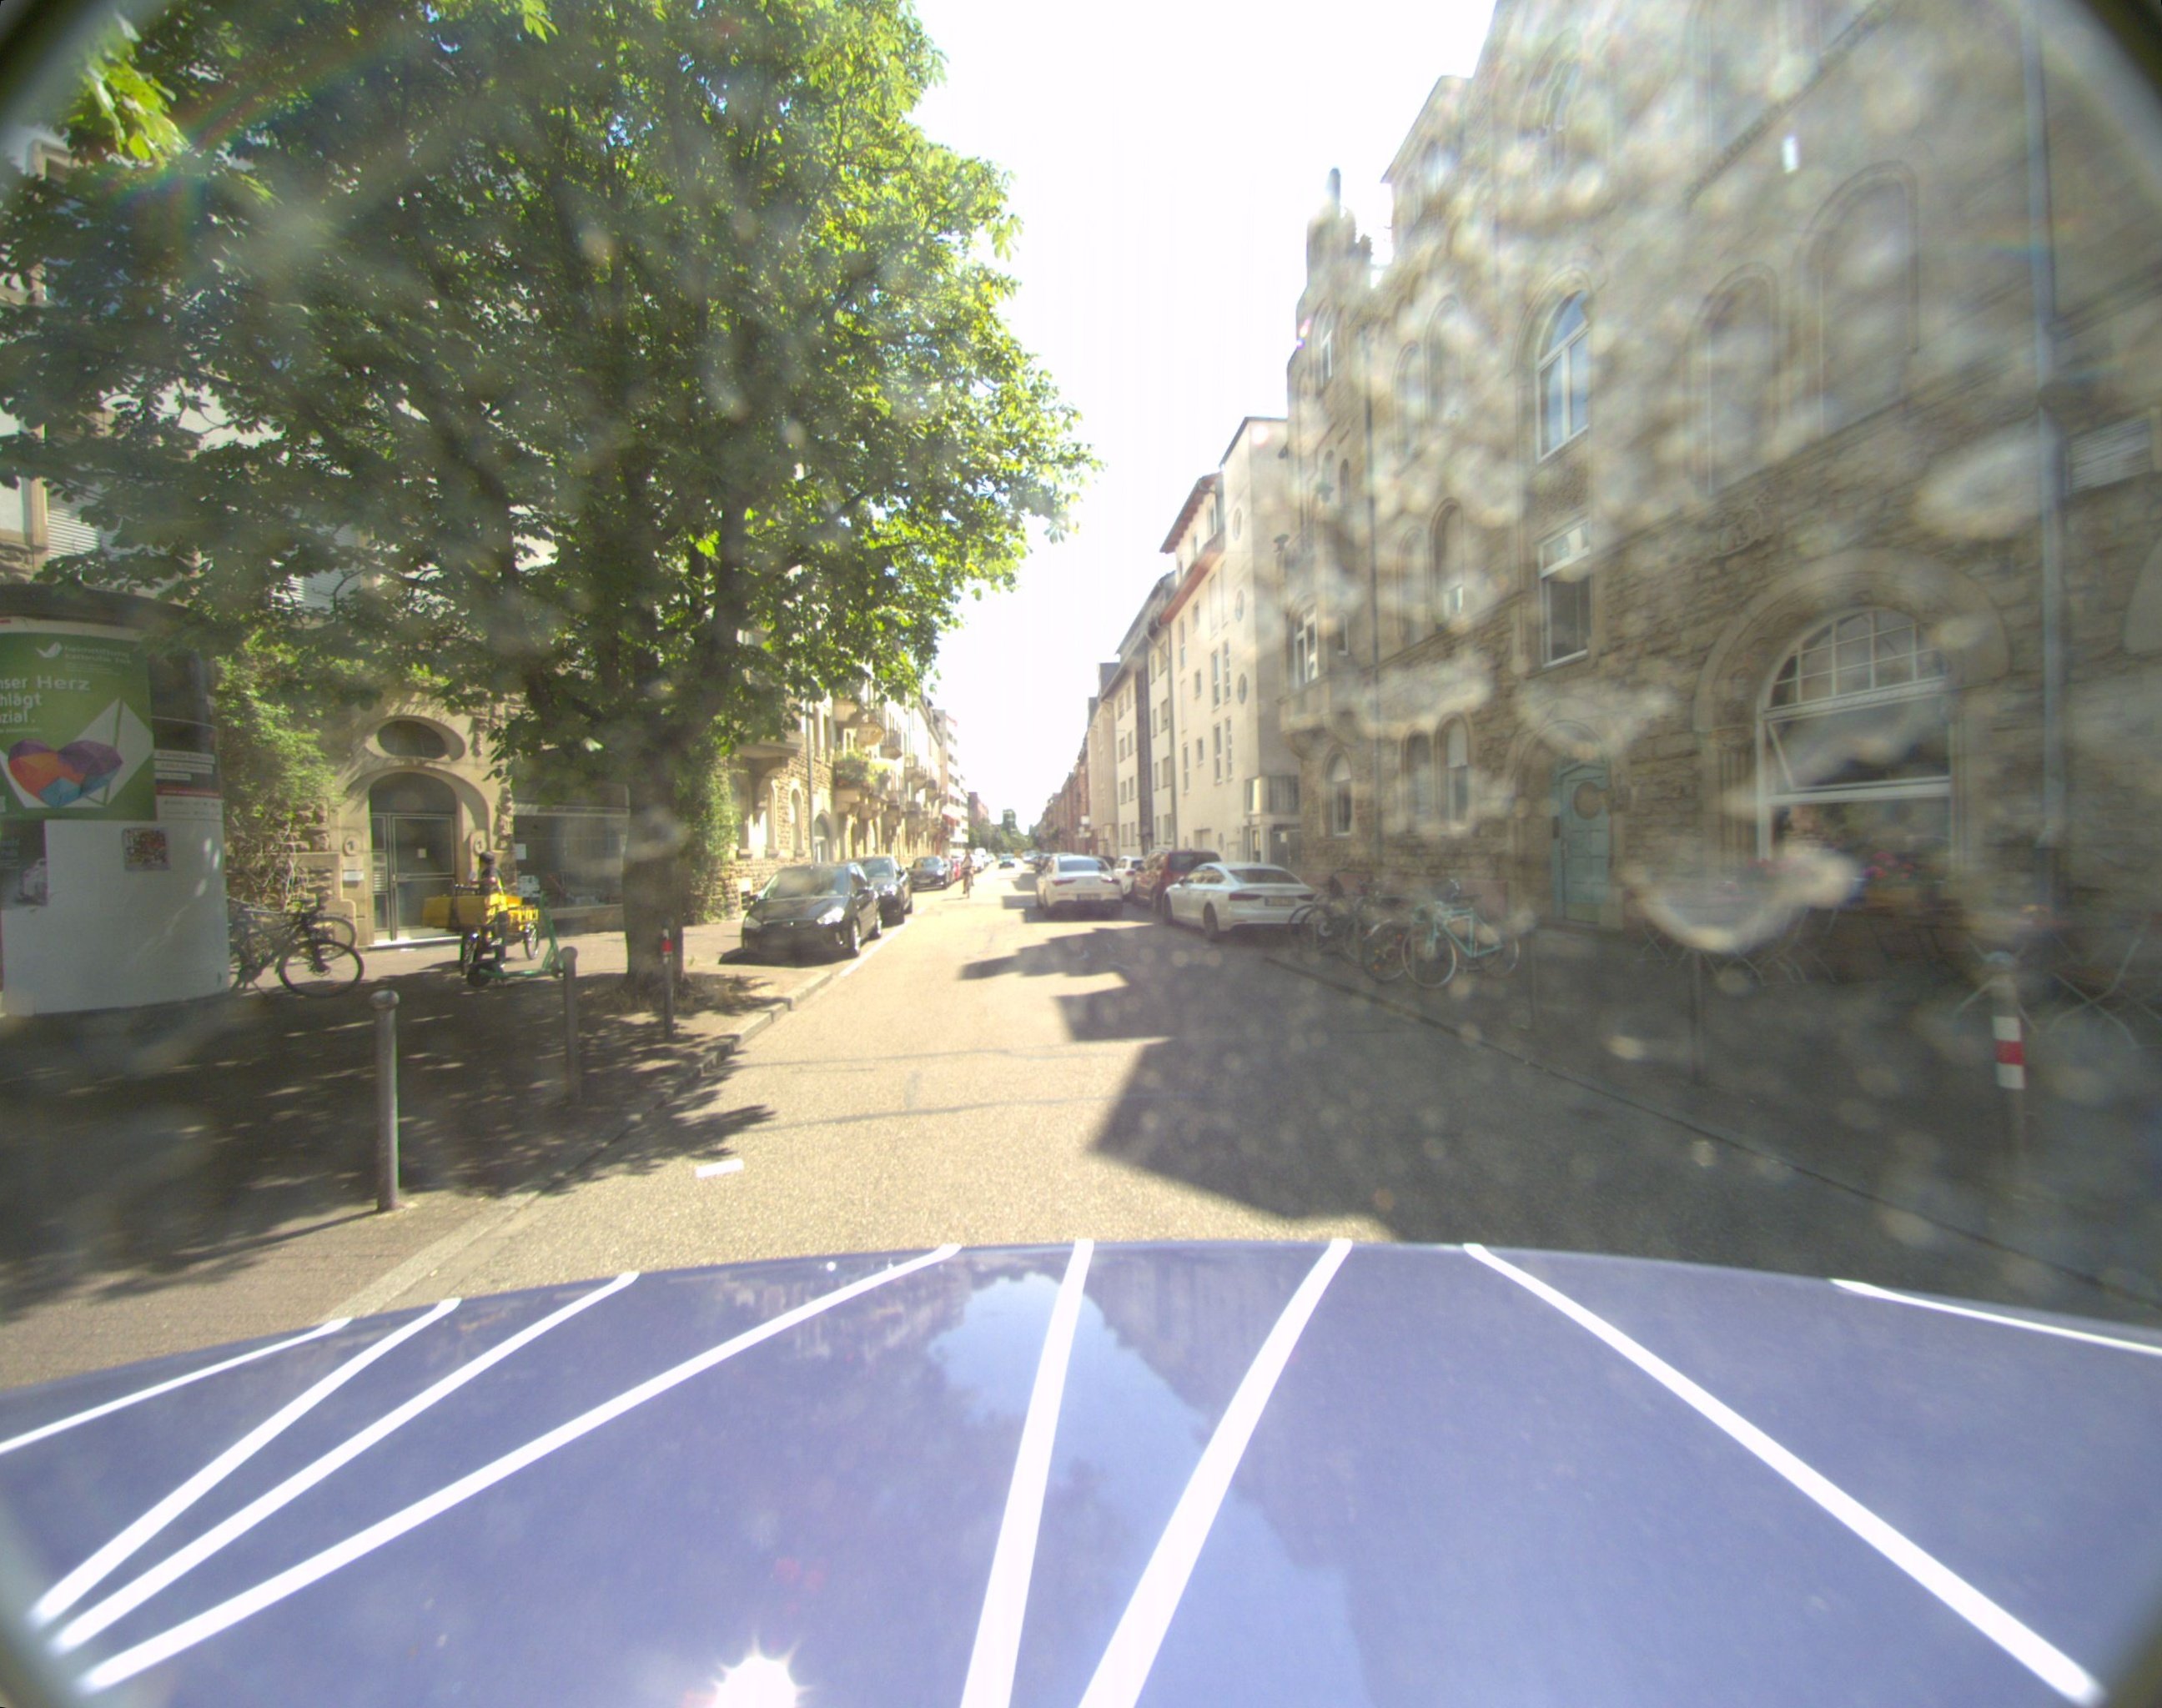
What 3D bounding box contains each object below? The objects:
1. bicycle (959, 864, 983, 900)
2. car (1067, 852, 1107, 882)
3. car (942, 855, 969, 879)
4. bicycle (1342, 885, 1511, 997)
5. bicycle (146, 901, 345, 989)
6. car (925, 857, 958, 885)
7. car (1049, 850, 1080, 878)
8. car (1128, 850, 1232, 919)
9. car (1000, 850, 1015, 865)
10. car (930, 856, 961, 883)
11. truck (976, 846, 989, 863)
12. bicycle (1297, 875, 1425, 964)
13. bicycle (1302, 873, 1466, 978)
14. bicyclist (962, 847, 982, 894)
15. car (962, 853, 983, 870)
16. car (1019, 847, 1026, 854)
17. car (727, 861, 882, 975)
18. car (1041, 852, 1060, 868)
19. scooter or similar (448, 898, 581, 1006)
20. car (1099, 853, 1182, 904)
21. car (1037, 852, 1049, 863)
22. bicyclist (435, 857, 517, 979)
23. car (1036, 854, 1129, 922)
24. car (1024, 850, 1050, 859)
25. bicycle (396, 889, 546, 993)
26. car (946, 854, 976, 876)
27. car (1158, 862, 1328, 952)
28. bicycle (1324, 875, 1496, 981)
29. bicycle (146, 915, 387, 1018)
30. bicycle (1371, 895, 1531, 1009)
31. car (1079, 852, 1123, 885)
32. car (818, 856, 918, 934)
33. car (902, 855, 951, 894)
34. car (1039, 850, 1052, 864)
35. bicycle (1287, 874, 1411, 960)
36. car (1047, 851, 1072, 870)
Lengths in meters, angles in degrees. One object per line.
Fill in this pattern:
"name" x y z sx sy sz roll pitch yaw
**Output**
"bicycle" -3.893 0.959 27.010 0.671 1.169 2.093 -1 1 -4
"car" 0.263 0.683 42.012 1.661 1.510 4.668 1 1 -6
"car" -8.643 0.884 52.674 1.594 1.444 3.853 -4 1 -7
"bicycle" 3.783 0.927 8.324 1.710 1.039 0.413 -4 2 -10
"bicycle" -12.031 1.267 11.027 0.548 1.033 1.840 0 1 27
"car" -7.720 0.916 42.381 1.517 1.391 3.969 -4 1 -8
"car" -1.065 0.617 47.469 1.608 1.634 3.974 1 1 -6
"car" 2.454 0.707 19.836 1.678 1.574 4.049 1 1 -8
"car" -8.221 0.378 85.544 1.625 1.601 3.595 -1 1 -6
"car" -8.452 0.947 47.654 1.575 1.444 3.840 -4 1 -6
"truck" -16.428 0.052 126.768 1.870 2.715 4.505 -1 1 -5
"bicycle" 3.891 0.893 10.545 1.708 1.094 0.292 -3 2 -10
"bicycle" 3.890 0.897 9.751 1.978 1.123 0.394 -5 2 -10
"bicyclist" -3.885 0.575 27.036 0.645 1.640 0.622 -1 1 -5
"car" -9.930 0.672 69.809 1.829 1.423 4.486 -2 0 -7
"car" -16.621 -1.097 216.319 1.785 2.002 3.998 -2 1 -2
"car" -4.673 0.966 13.460 1.668 1.532 4.174 -4 1 -8
"car" -3.115 0.587 76.921 1.782 1.421 3.835 3 0 -4
"scooter or similar" -6.866 1.151 9.257 0.442 1.130 1.187 0 1 31
"car" 1.835 0.730 24.714 1.782 1.451 4.275 1 1 -8
"car" -5.137 0.420 102.515 1.450 1.391 3.524 3 0 -5
"bicyclist" -8.499 0.865 10.701 0.680 1.638 0.660 -1 1 -20
"car" -0.083 0.774 19.083 1.847 1.452 4.359 1 1 -6
"car" -6.860 0.084 119.203 3.998 1.422 1.677 -1 1 -4
"bicycle" -8.642 1.160 10.929 0.797 1.162 2.574 -1 1 -18
"car" -9.148 0.797 58.338 1.721 1.444 4.595 -3 1 -3
"car" 2.863 0.886 14.559 1.707 1.345 4.511 1 1 -8
"bicycle" 4.035 0.881 9.334 2.002 1.123 0.435 -3 2 -10
"bicycle" -9.194 1.253 8.637 1.906 1.033 0.633 -1 1 -5
"bicycle" 3.838 0.993 7.880 1.530 1.002 0.367 -4 2 -10
"car" 0.922 0.655 36.674 1.572 1.483 3.891 1 1 -6
"car" -5.167 0.911 18.956 1.741 1.587 4.344 -4 1 -8
"car" -7.228 0.906 36.004 1.839 1.558 4.601 -4 1 -7
"car" -4.610 0.342 97.608 1.451 1.633 3.523 3 0 -6
"bicycle" 3.835 0.889 10.854 1.708 1.094 0.292 -3 2 -10
"car" -1.877 0.560 66.321 1.634 1.540 3.850 3 0 -9
